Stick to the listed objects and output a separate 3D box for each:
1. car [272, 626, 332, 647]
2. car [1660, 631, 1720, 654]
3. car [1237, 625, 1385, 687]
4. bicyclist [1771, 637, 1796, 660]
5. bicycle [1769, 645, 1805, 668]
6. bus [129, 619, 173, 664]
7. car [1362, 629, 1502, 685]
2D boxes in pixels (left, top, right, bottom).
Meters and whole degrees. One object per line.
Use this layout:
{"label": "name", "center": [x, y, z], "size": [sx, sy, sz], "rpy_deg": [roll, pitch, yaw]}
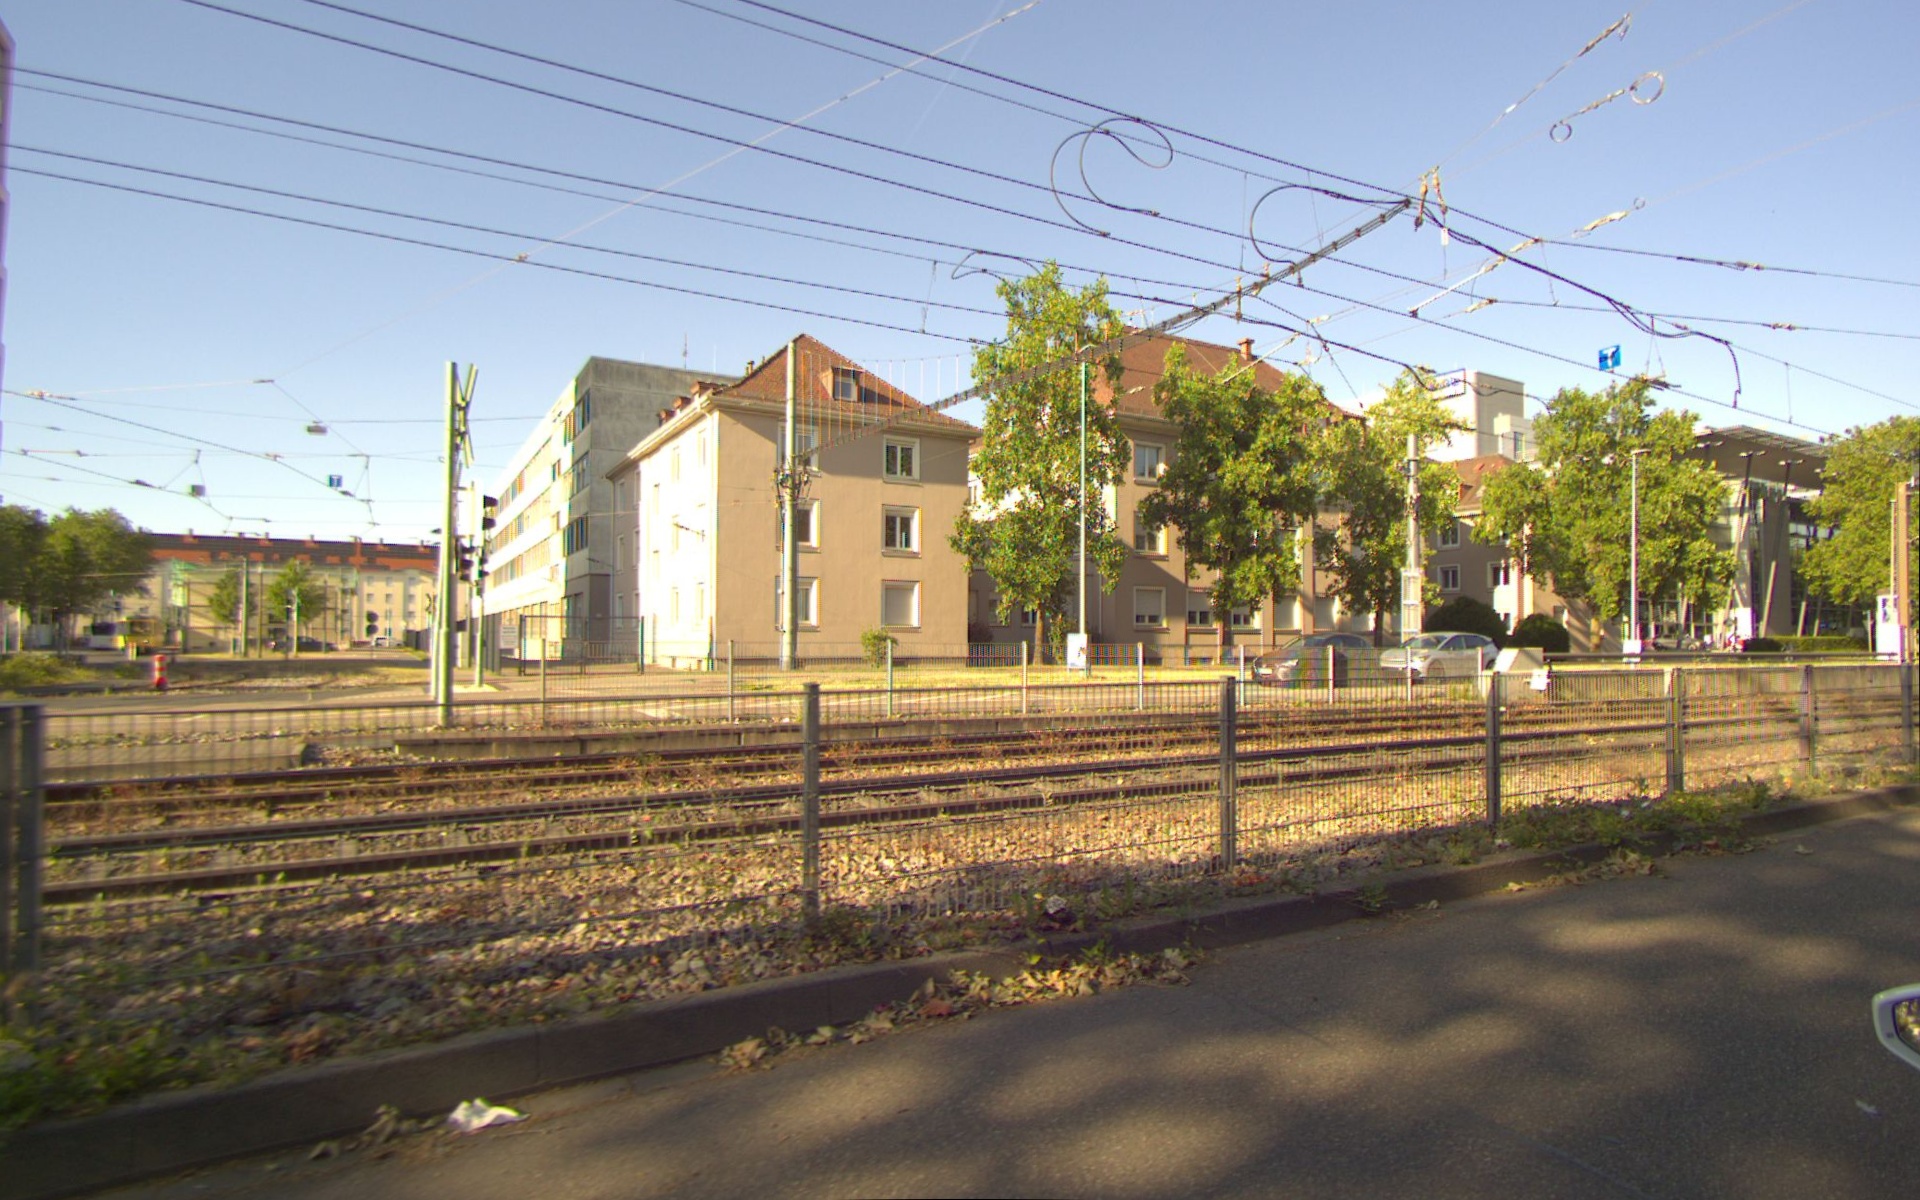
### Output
{"label": "car", "center": [-52.914, 2.971, 80.848], "size": [3.954, 1.567, 1.731], "rpy_deg": [2, -1, -31]}
{"label": "car", "center": [65.260, 3.792, 89.848], "size": [1.977, 2.040, 3.967], "rpy_deg": [2, -2, -31]}
{"label": "car", "center": [9.724, 1.537, 27.794], "size": [3.954, 1.567, 1.731], "rpy_deg": [2, -1, -31]}
{"label": "bicyclist", "center": [54.801, 3.195, 66.854], "size": [1.258, 1.505, 0.925], "rpy_deg": [2, -2, -32]}
{"label": "bicycle", "center": [55.187, 3.781, 67.019], "size": [3.142, 1.505, 0.925], "rpy_deg": [2, -2, -33]}
{"label": "bus", "center": [-63.687, 3.210, 79.156], "size": [1.891, 3.182, 7.630], "rpy_deg": [2, -1, -33]}
{"label": "car", "center": [14.397, 1.716, 30.637], "size": [3.954, 1.550, 1.984], "rpy_deg": [2, -1, -30]}
